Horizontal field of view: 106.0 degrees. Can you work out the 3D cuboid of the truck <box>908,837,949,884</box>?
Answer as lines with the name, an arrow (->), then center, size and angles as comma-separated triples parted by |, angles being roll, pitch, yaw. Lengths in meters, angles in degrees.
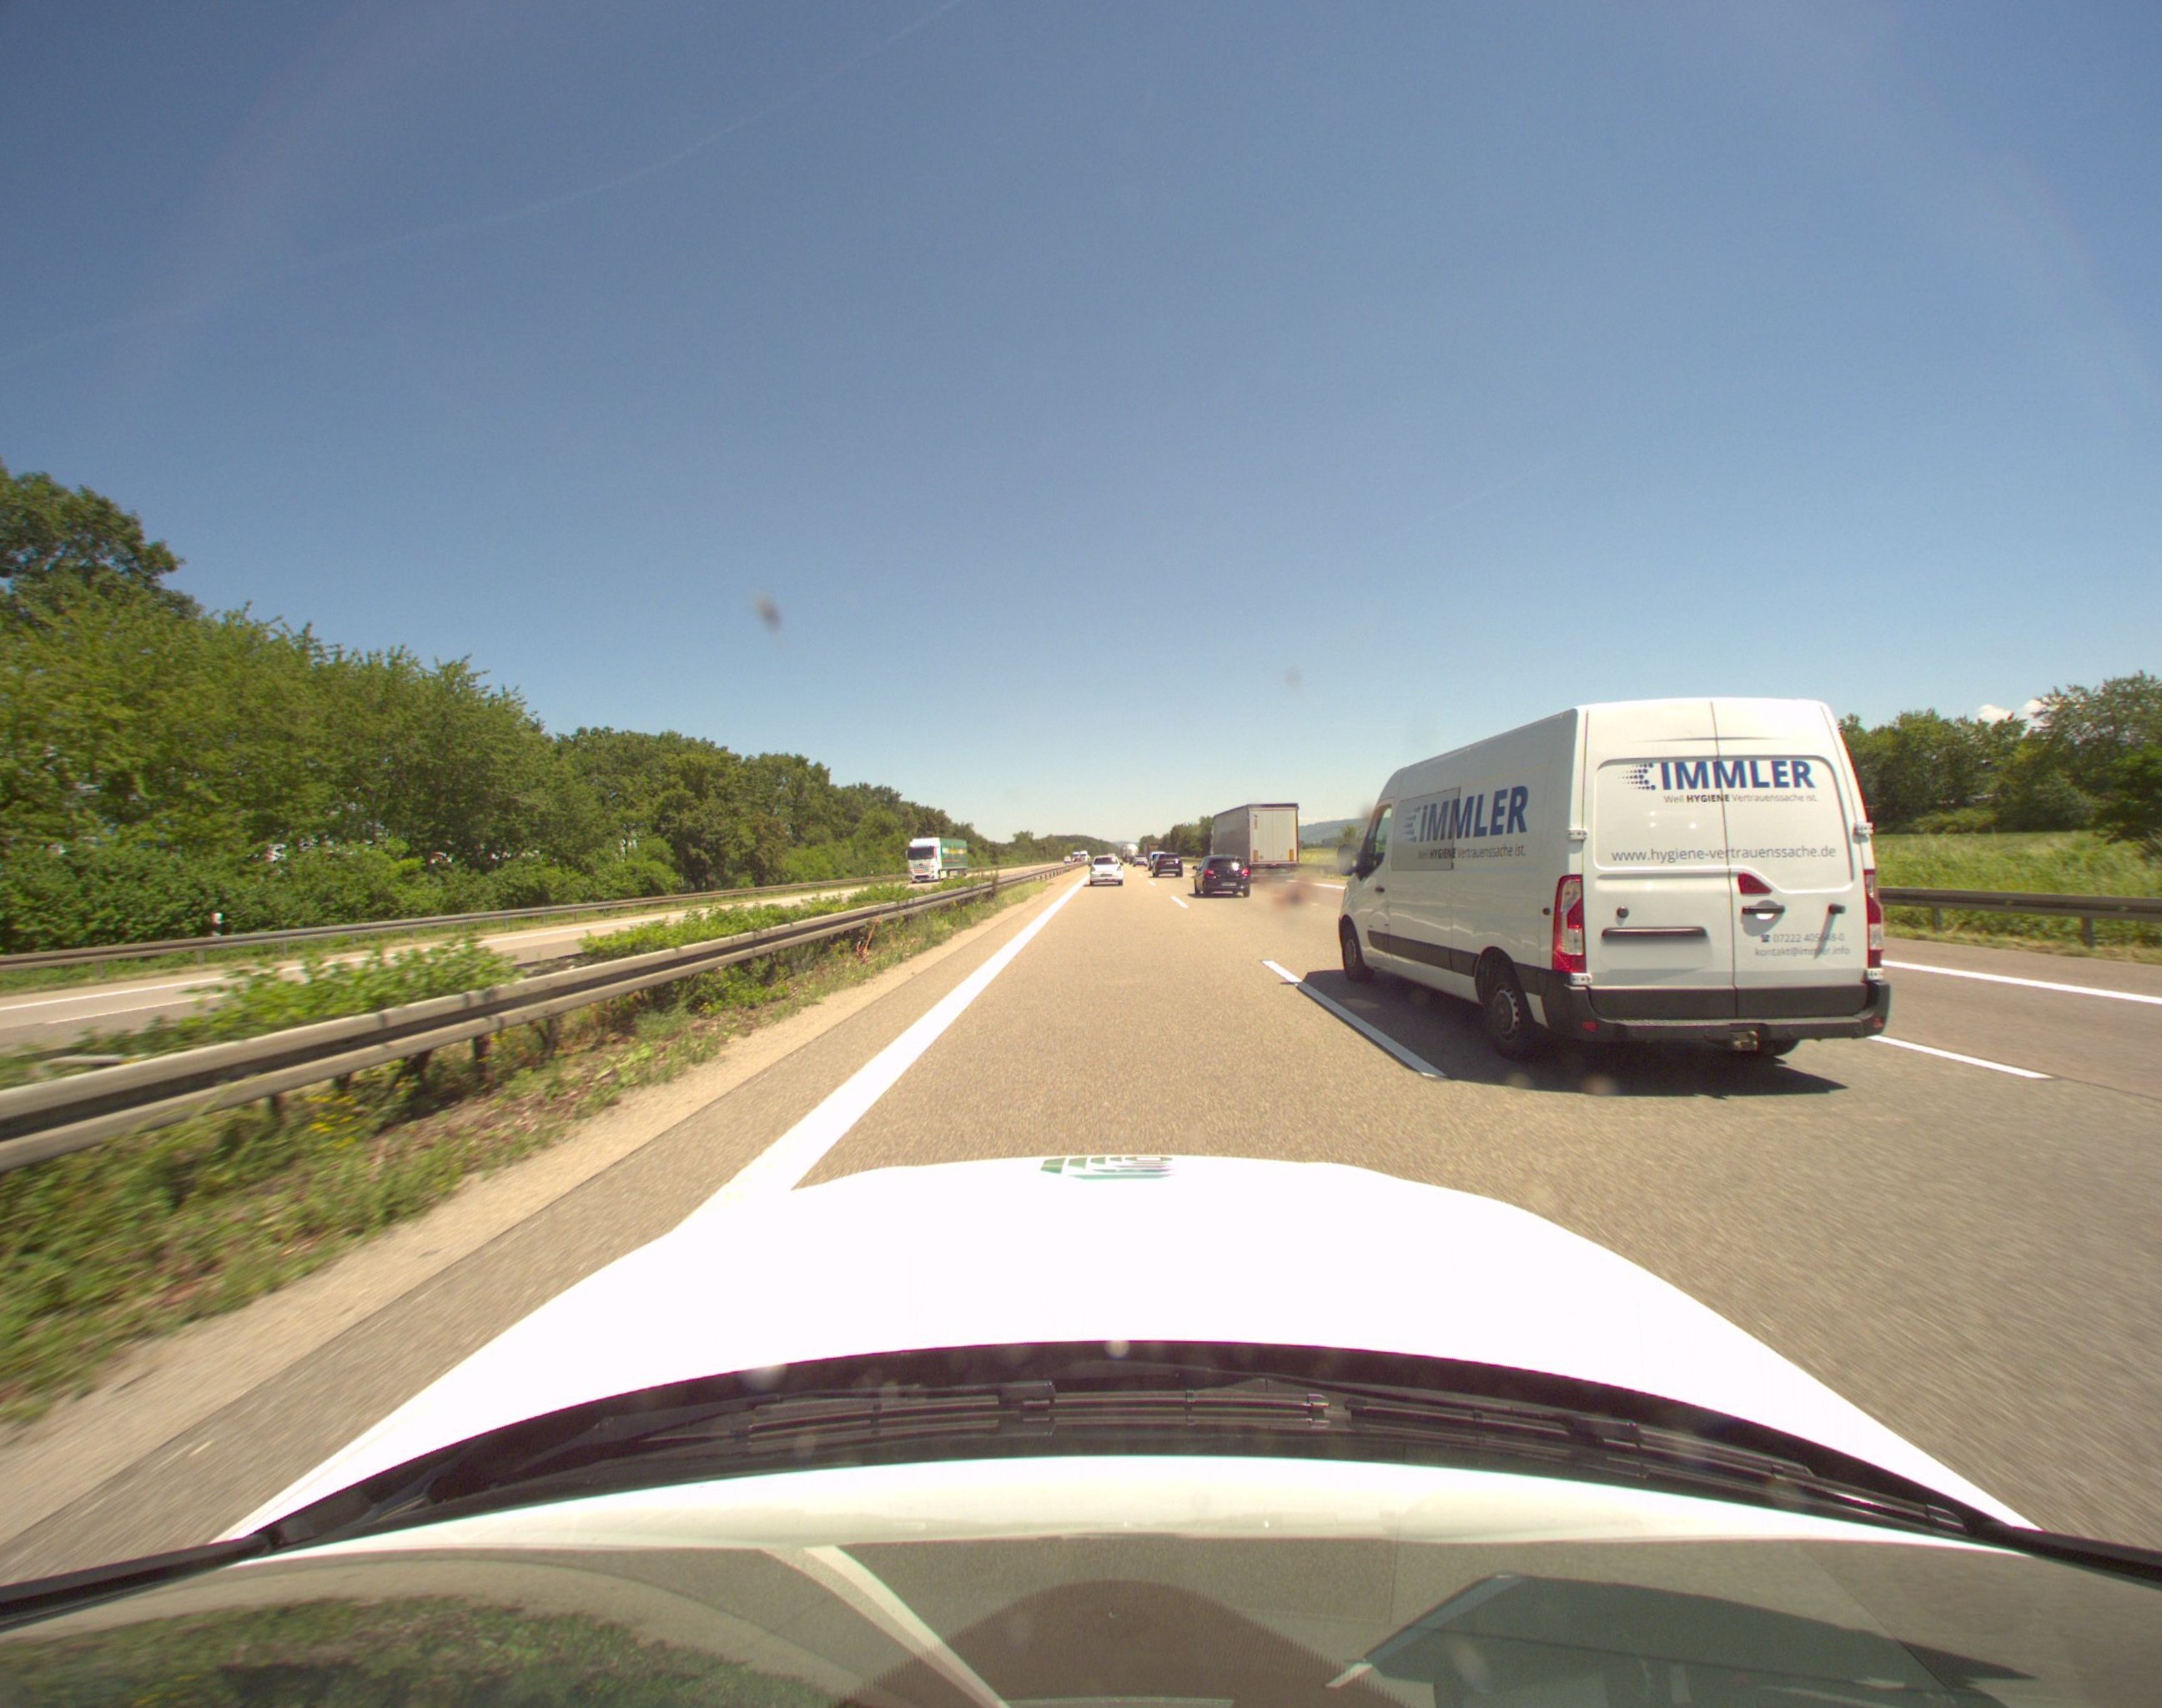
truck -> -13.776, 0.545, 74.158 | 2.408, 4.093, 5.883 | -1, 0, 2

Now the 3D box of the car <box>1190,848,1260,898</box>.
car -> 5.129, 0.652, 29.566 | 1.851, 1.652, 4.000 | -1, 0, 0

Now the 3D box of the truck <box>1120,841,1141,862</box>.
truck -> 10.491, -0.425, 174.112 | 3.248, 4.209, 16.837 | 0, 0, -1

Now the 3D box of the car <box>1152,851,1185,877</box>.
car -> 5.967, 0.666, 55.823 | 1.851, 1.652, 4.000 | -1, 0, 0

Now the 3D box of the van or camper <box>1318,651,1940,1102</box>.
van or camper -> 4.092, 0.139, 7.799 | 2.050, 2.622, 5.987 | -1, 0, 2

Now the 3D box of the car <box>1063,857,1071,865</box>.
car -> -3.931, 1.936, 233.684 | 1.986, 2.013, 4.001 | -3, 0, 1

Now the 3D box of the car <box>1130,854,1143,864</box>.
car -> 9.248, 0.883, 136.090 | 1.851, 1.652, 4.000 | -1, 0, 0

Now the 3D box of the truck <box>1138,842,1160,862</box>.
truck -> 14.468, -0.420, 174.356 | 3.248, 4.209, 16.837 | 0, 0, -1

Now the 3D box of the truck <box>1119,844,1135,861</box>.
truck -> 11.995, -0.338, 213.808 | 3.248, 4.209, 16.837 | 0, 0, -1

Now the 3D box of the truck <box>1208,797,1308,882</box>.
truck -> 10.113, -0.696, 49.035 | 3.067, 4.209, 16.853 | 0, 0, 2

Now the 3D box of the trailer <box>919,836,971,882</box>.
trailer -> -13.524, 0.455, 82.301 | 2.437, 4.229, 13.642 | -1, 0, 2

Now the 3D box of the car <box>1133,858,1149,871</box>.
car -> 8.029, 1.349, 108.792 | 1.851, 1.652, 4.000 | -1, 0, 0

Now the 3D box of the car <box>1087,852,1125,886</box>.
car -> 1.238, 0.742, 42.207 | 1.851, 1.652, 4.000 | 0, 0, 0

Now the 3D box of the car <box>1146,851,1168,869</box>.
car -> 7.422, 0.572, 79.888 | 1.851, 1.652, 4.000 | -1, 0, 0
